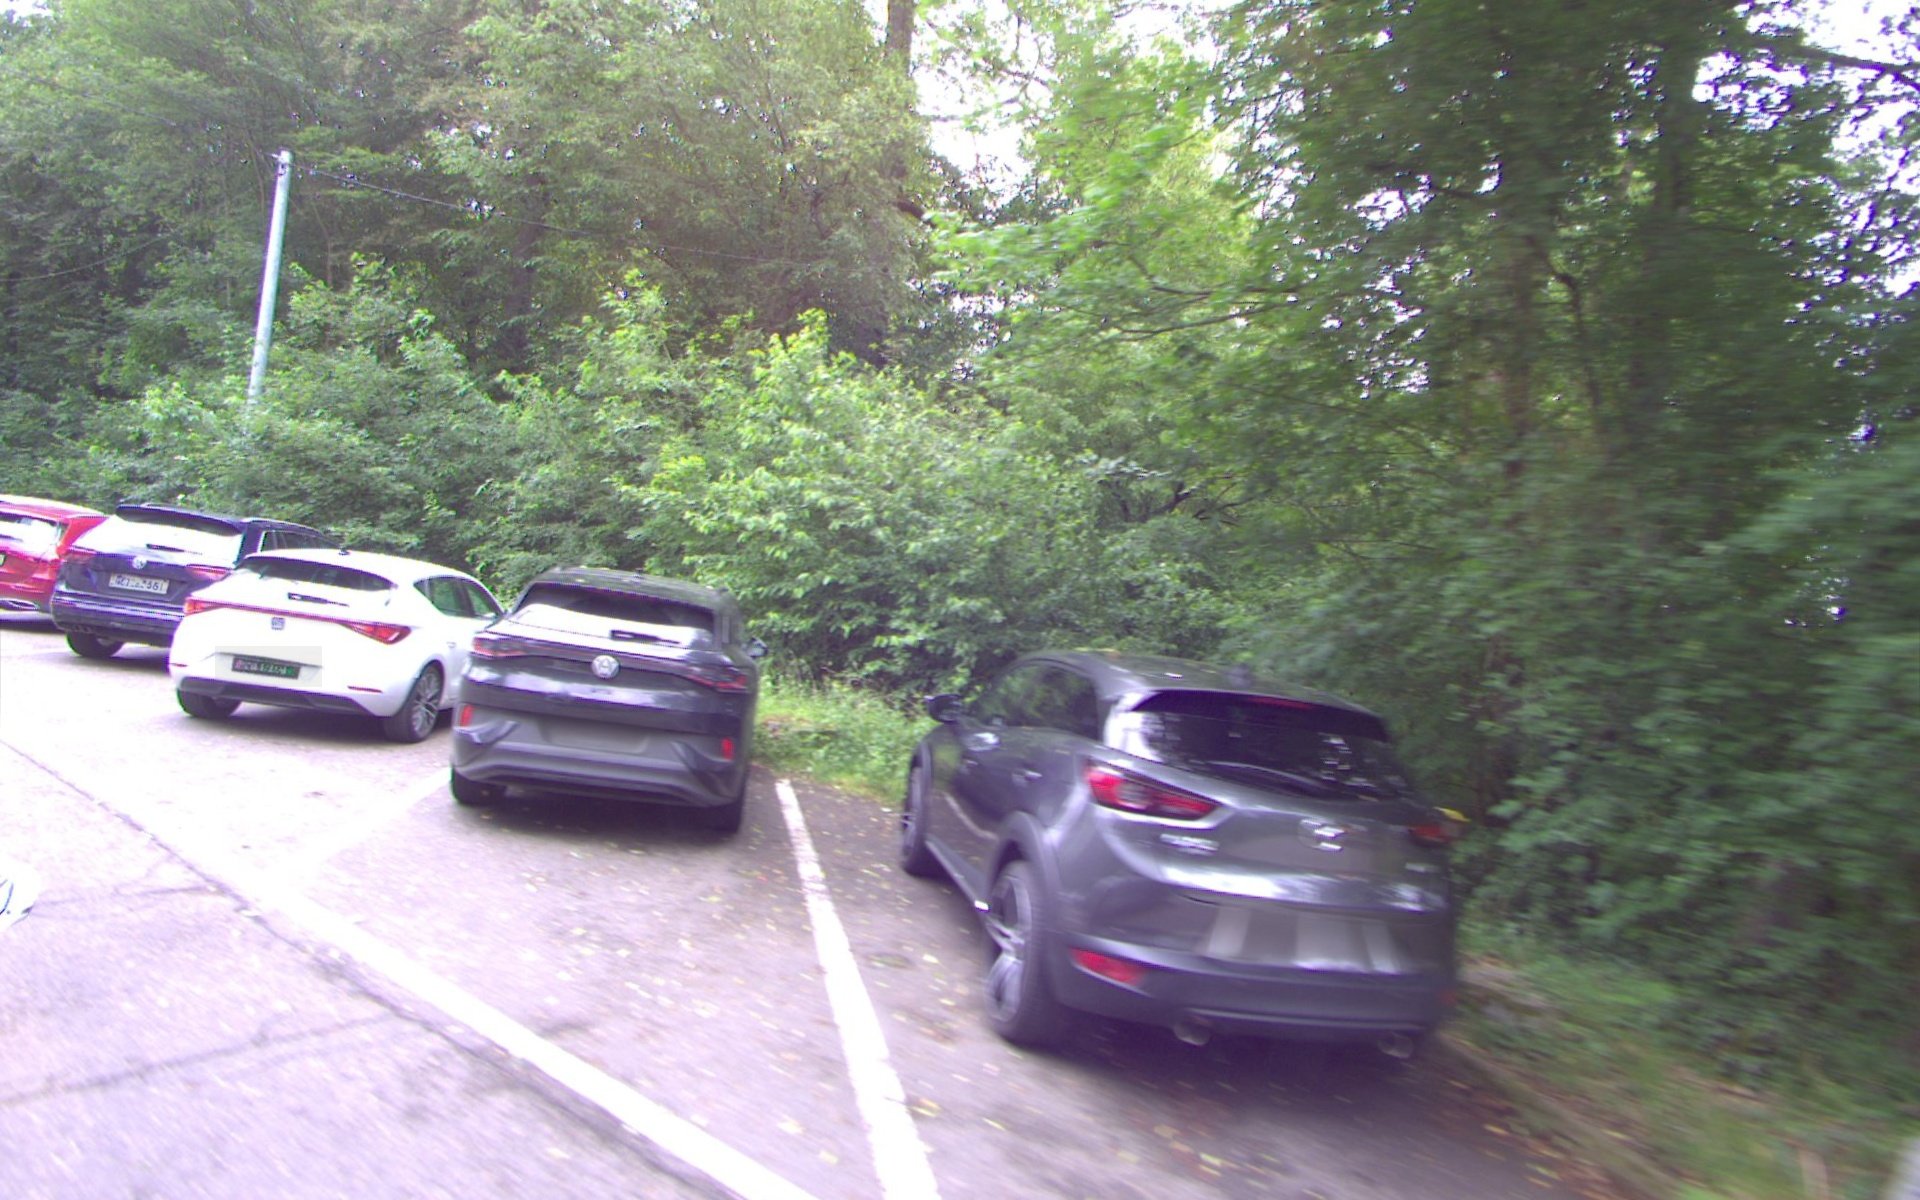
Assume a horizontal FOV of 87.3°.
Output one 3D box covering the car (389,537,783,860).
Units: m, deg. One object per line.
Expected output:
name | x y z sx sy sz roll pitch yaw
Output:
car | -2.513 0.594 7.749 1.927 1.598 4.195 8 -2 -12

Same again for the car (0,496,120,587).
car | -17.060 -1.114 17.480 1.775 1.474 4.180 8 -1 -10

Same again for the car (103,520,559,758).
car | -5.295 0.324 9.261 1.838 1.455 4.117 8 -2 -7

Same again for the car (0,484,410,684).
car | -8.251 -0.111 11.556 1.811 1.636 4.116 8 -2 -7

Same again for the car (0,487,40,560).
car | -23.295 -1.955 22.459 1.933 1.655 4.256 8 -1 -10

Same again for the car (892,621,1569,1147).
car | 0.811 1.003 5.124 1.672 1.509 3.786 8 -2 -11

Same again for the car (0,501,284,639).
car | -11.166 -0.374 13.167 1.895 1.430 4.294 8 -2 -6

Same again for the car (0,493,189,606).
car | -14.218 -0.788 15.758 1.706 1.522 3.578 8 -1 -8

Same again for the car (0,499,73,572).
car | -20.179 -1.451 19.932 1.934 1.393 4.254 8 -1 -12
